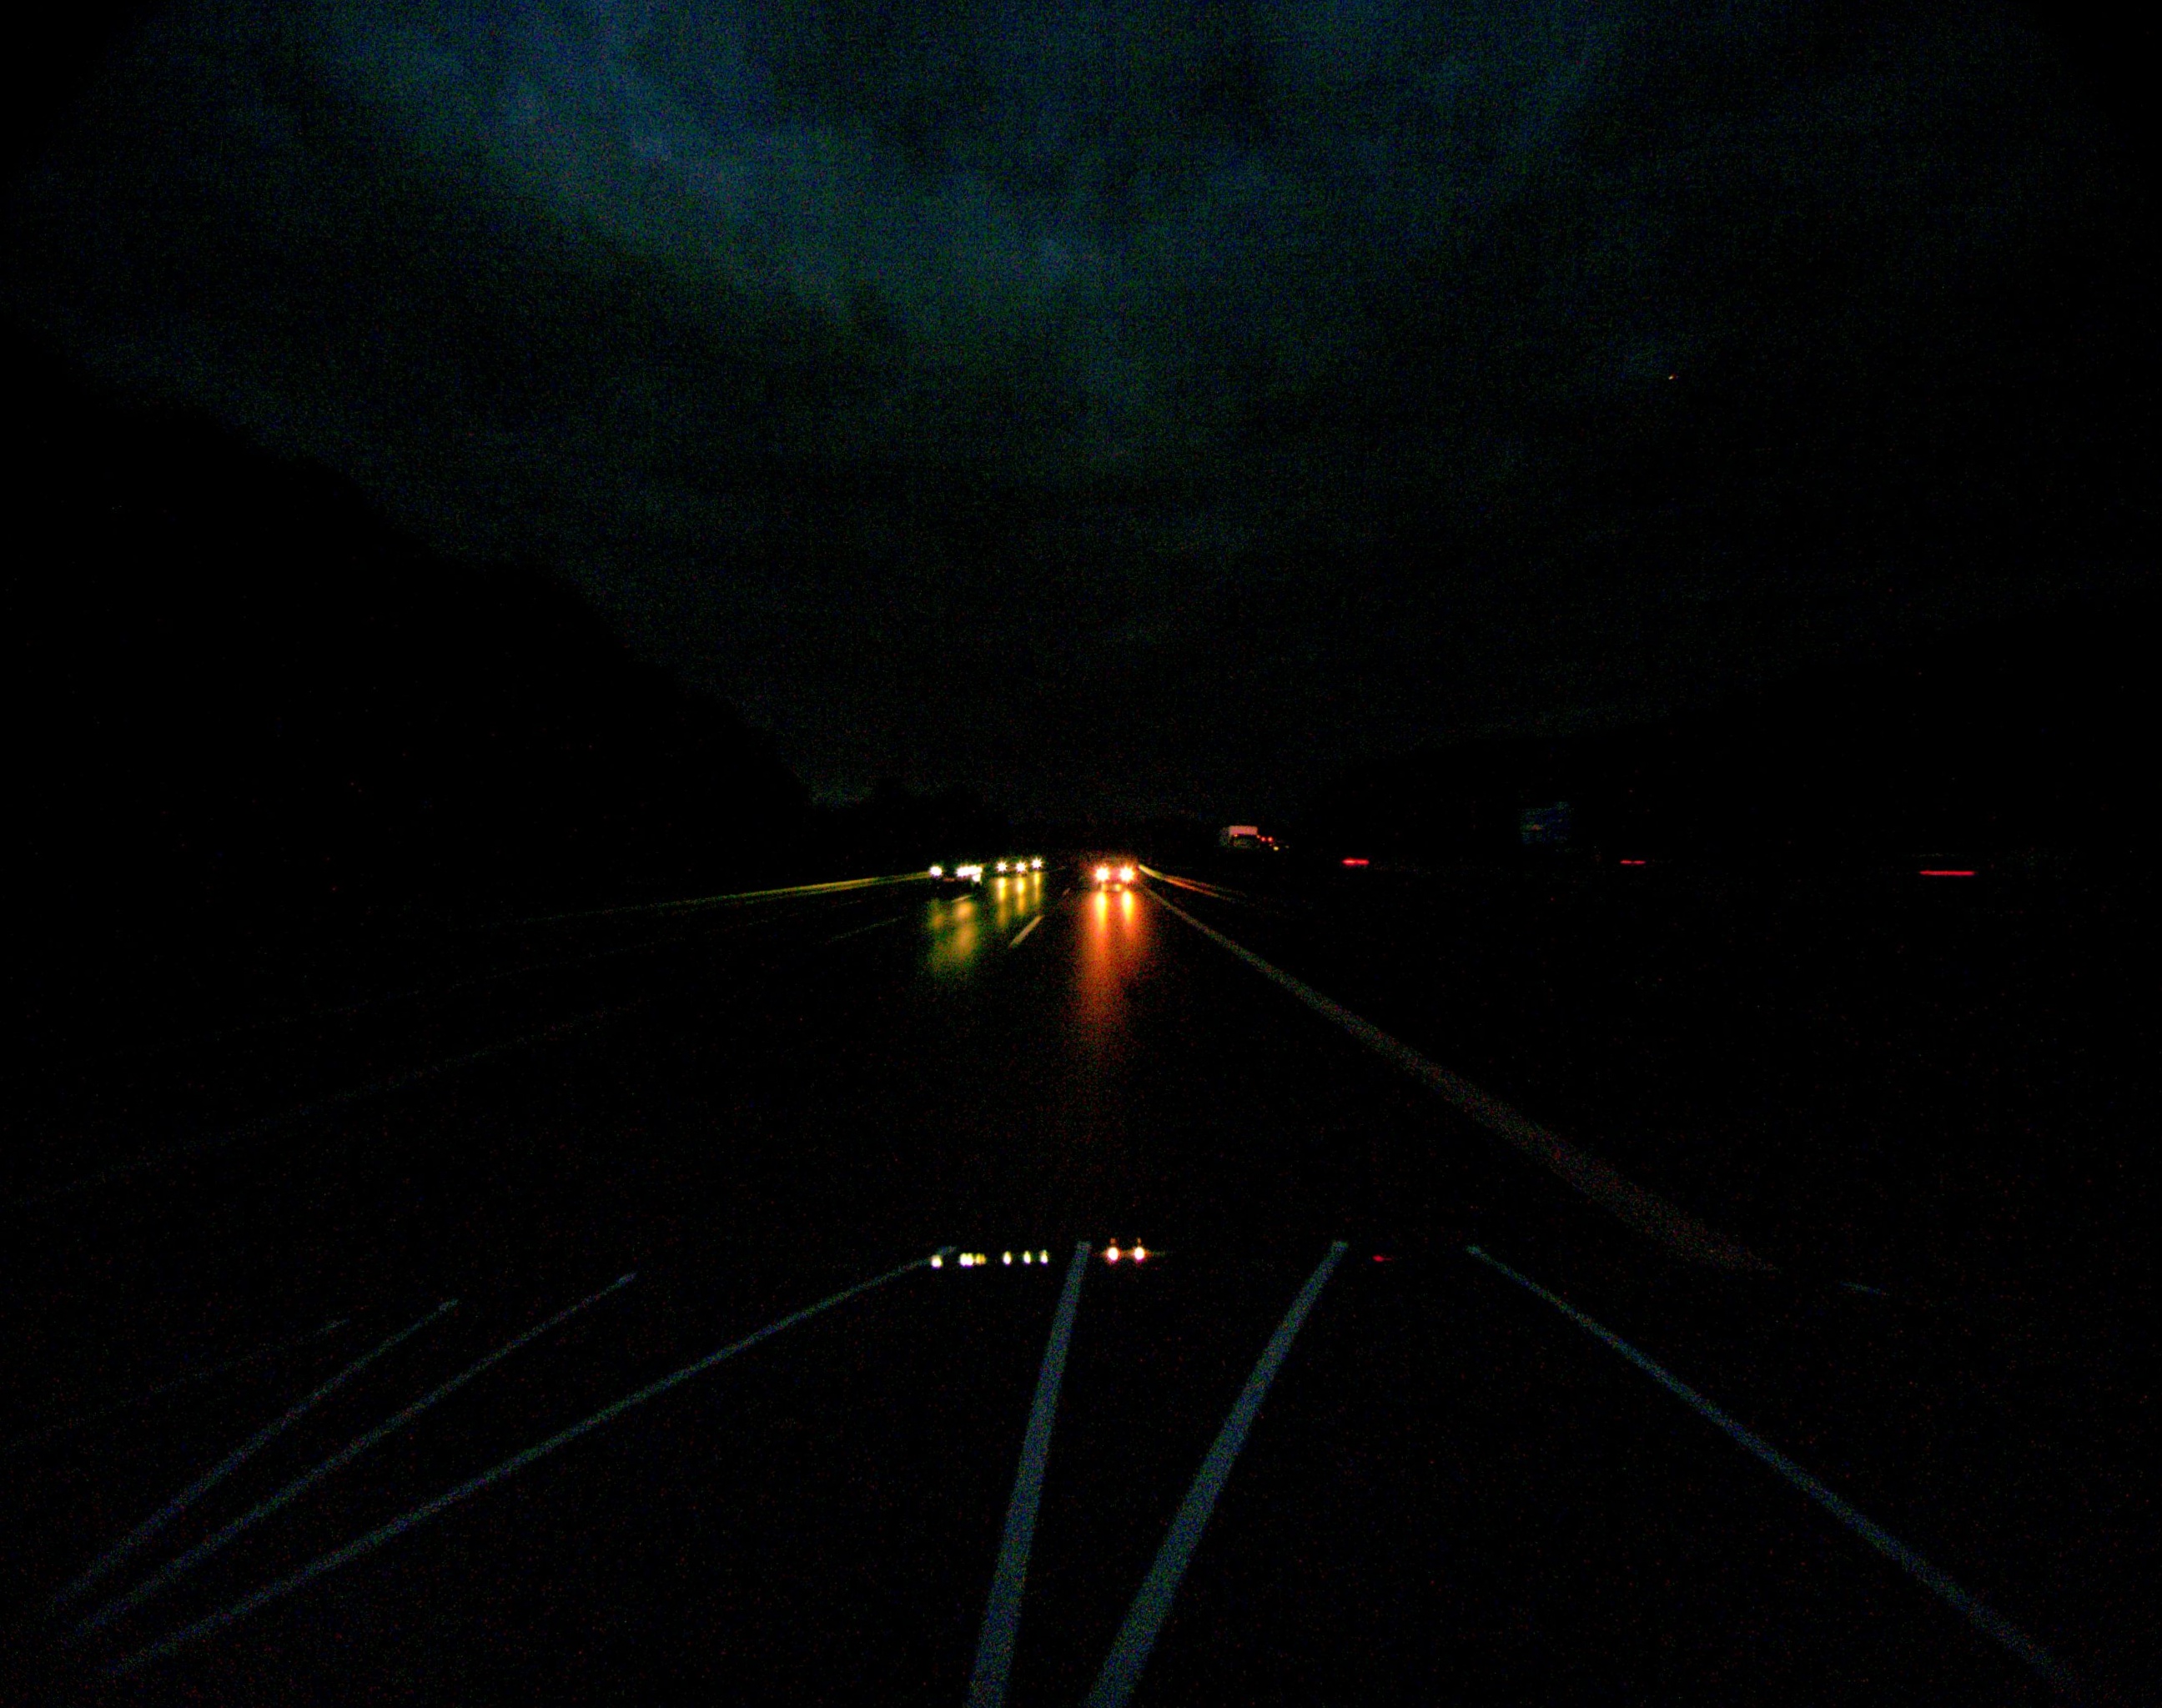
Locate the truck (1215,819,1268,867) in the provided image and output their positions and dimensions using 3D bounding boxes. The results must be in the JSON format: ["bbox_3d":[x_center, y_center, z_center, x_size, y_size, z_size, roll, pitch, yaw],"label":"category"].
[{"bbox_3d":[15.217,-1.053,72.820,3.046,4.277,9.890,0,1,1],"label":"truck"}]

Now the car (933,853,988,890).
[{"bbox_3d":[-5.812,0.798,37.183,1.802,1.636,5.159,1,1,0],"label":"car"}]

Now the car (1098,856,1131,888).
[{"bbox_3d":[1.730,0.910,40.381,1.669,1.551,3.756,0,1,1],"label":"car"}]

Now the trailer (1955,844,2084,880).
[{"bbox_3d":[43.968,0.345,35.707,1.539,1.587,3.599,-1,0,-2],"label":"trailer"}]

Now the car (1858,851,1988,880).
[{"bbox_3d":[43.888,0.557,39.772,1.841,1.434,4.466,-1,0,-1],"label":"car"}]

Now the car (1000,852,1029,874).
[{"bbox_3d":[-4.964,0.654,57.260,1.803,1.483,5.116,-3,1,-1],"label":"car"}]

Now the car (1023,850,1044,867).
[{"bbox_3d":[-4.621,0.396,73.912,1.803,1.483,4.434,-3,1,-1],"label":"car"}]
